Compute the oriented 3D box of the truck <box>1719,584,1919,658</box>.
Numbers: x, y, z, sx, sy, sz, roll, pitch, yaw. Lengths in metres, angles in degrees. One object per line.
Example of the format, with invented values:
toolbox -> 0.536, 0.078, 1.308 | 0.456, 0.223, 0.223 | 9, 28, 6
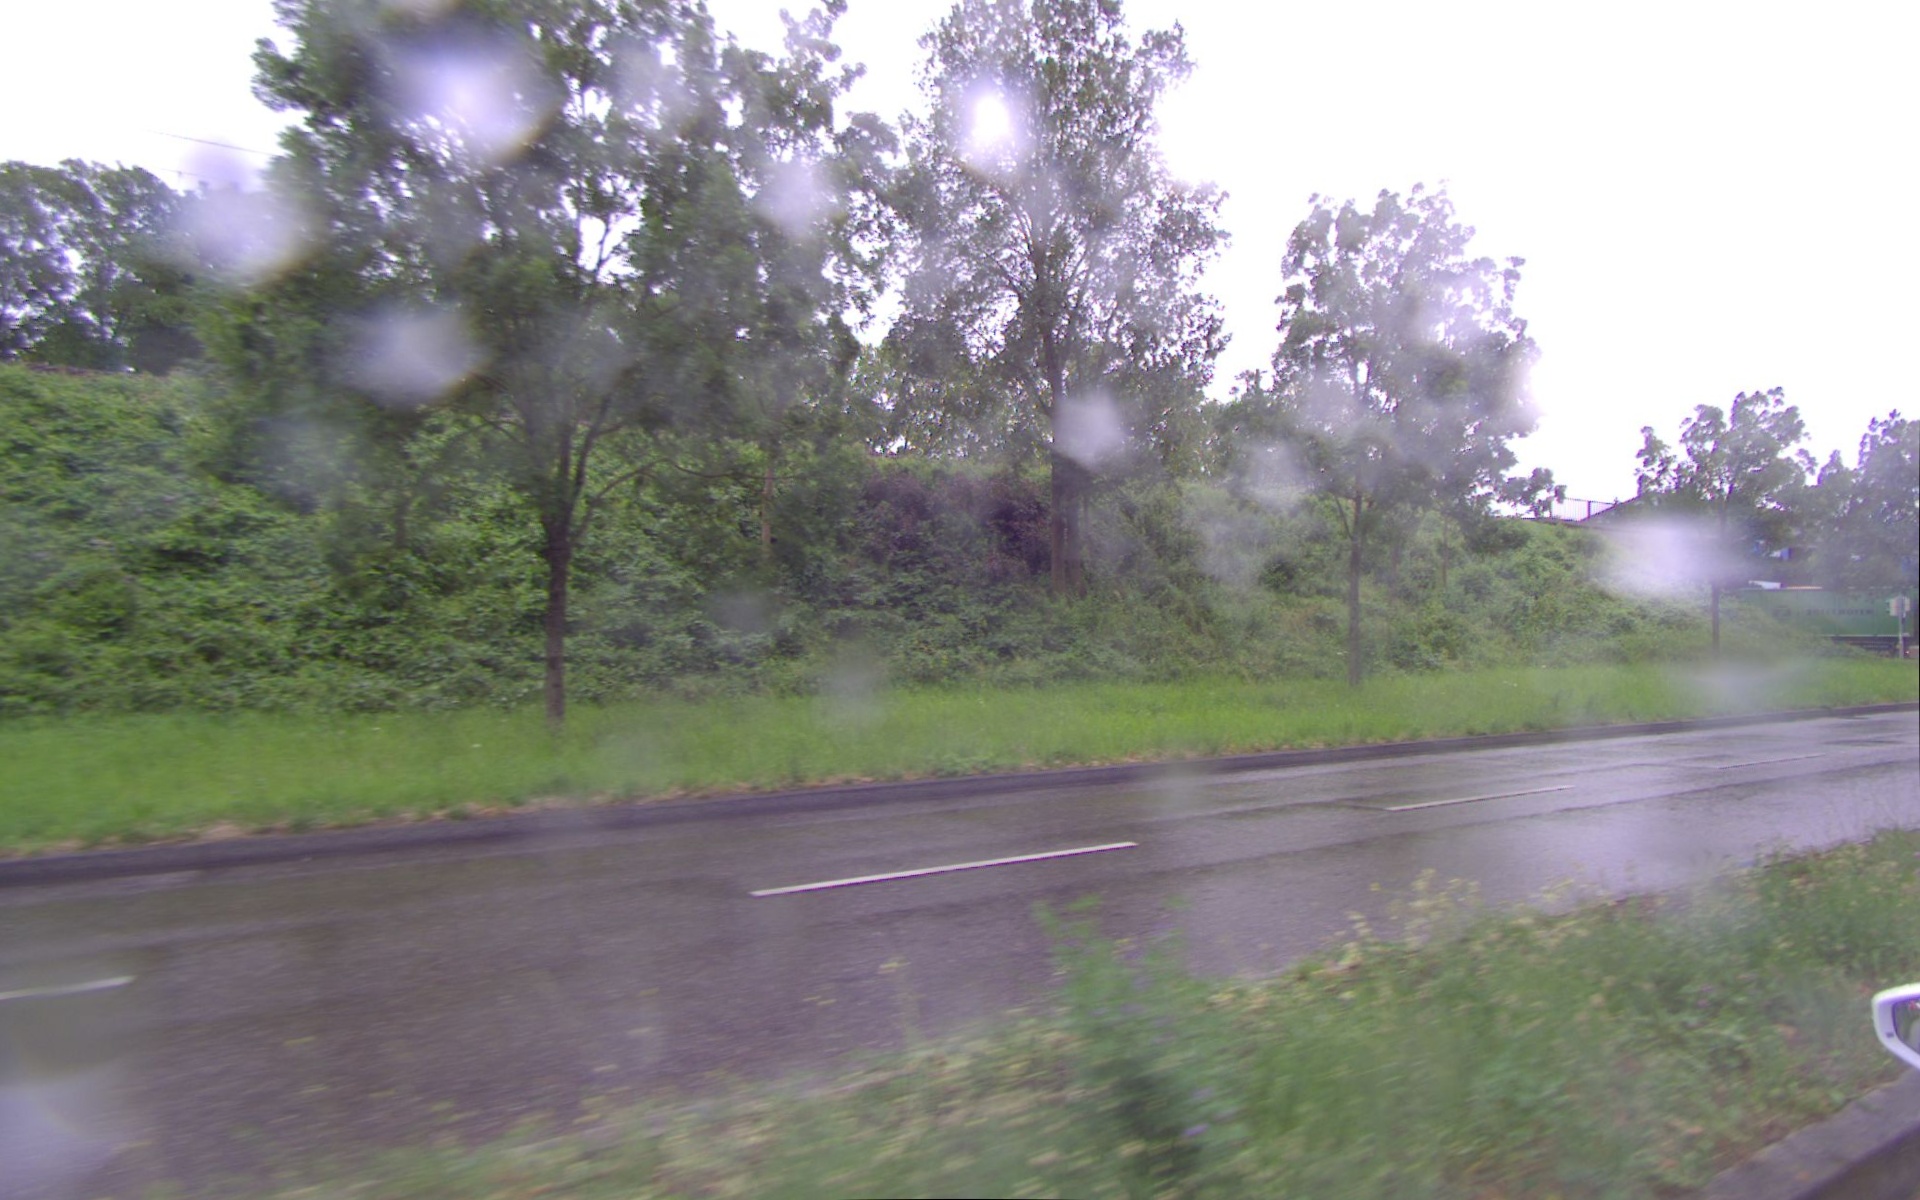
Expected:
truck -> 45.570, 1.086, 51.724 | 9.948, 3.497, 2.657 | 2, -1, 25
